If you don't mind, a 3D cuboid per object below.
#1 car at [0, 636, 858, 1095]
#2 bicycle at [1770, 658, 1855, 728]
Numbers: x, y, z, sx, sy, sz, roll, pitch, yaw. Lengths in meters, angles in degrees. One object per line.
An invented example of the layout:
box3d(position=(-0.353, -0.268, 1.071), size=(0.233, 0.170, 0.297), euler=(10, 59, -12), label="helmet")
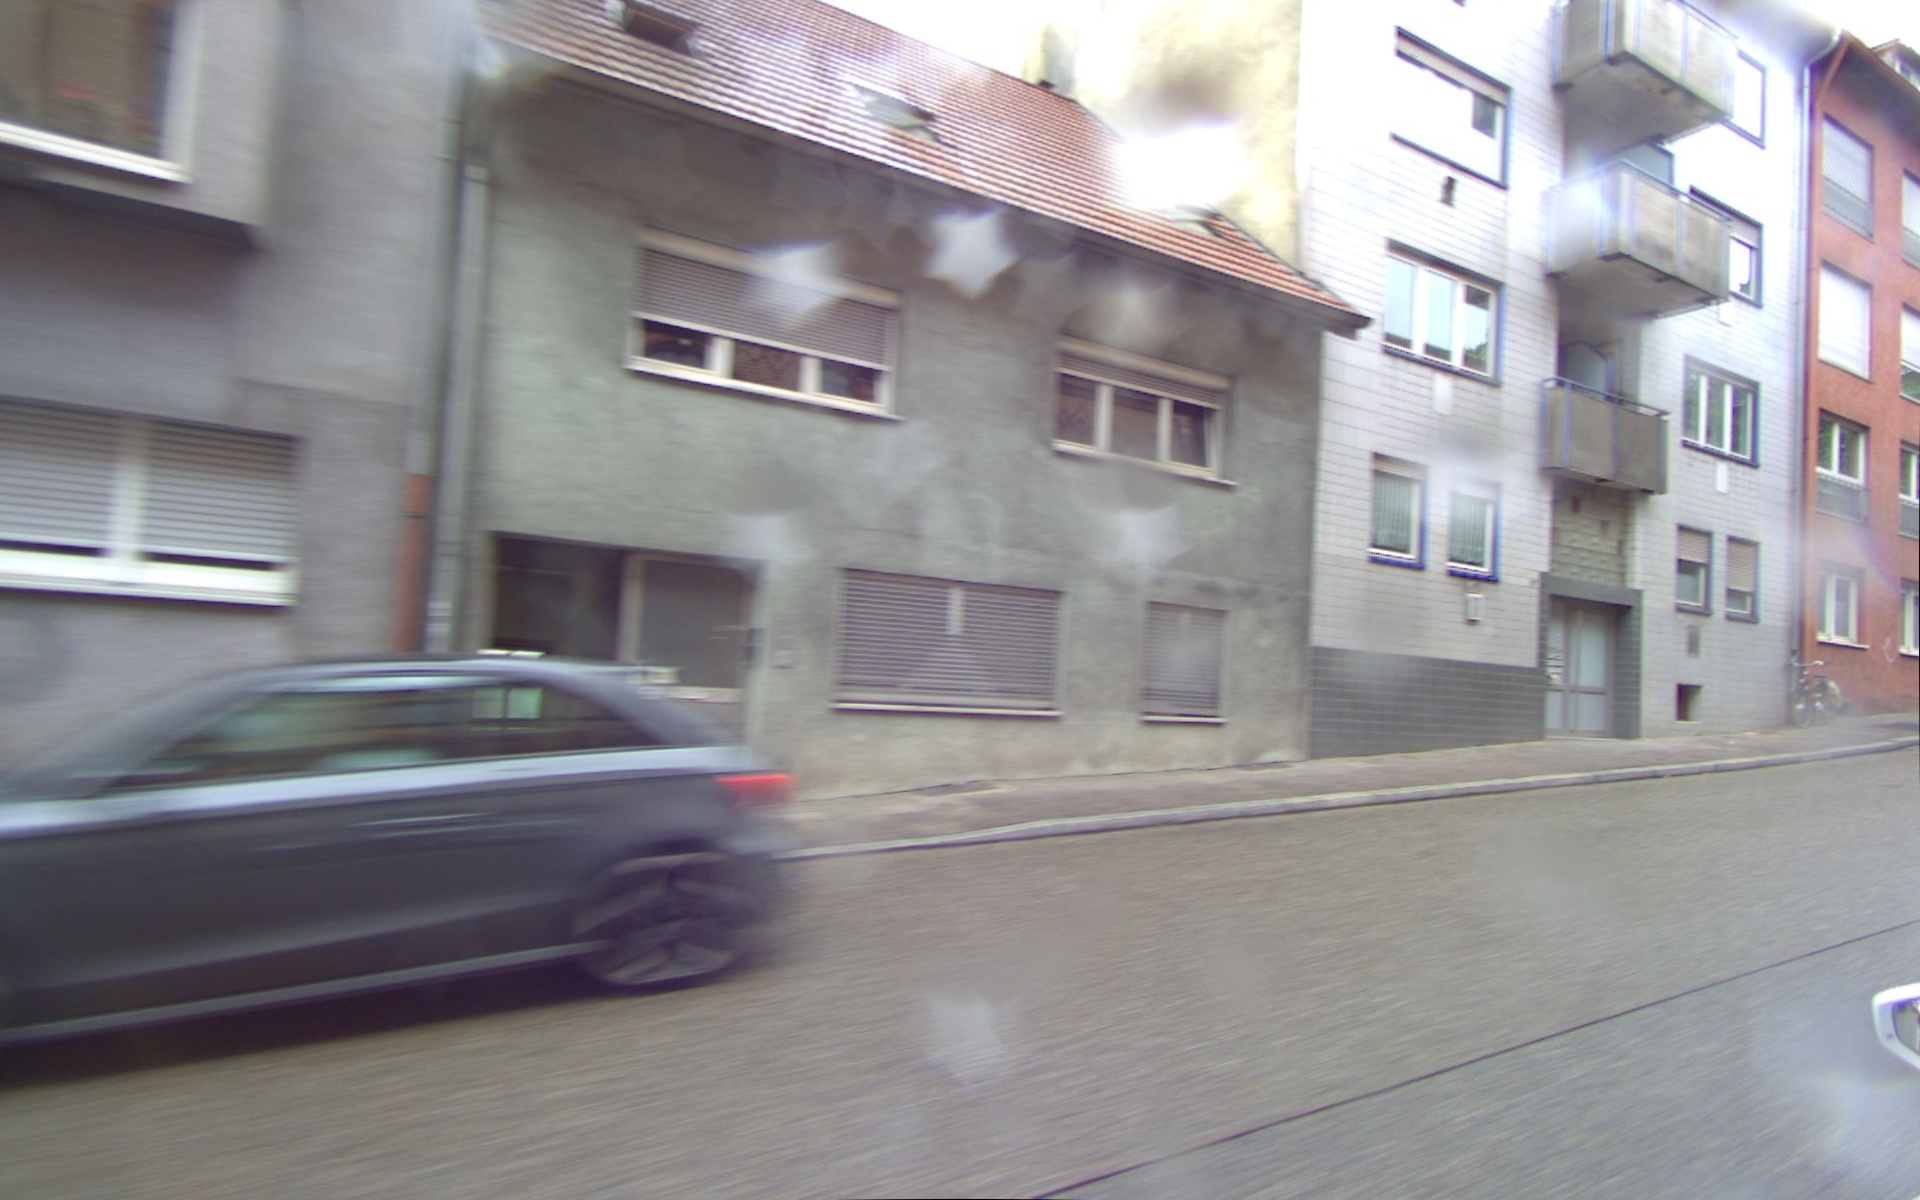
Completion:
box3d(position=(-2.500, 0.885, 4.278), size=(3.804, 1.396, 1.638), euler=(2, -4, -29), label="car")
box3d(position=(14.800, 1.598, 17.434), size=(1.777, 1.122, 0.496), euler=(1, -1, -28), label="bicycle")
